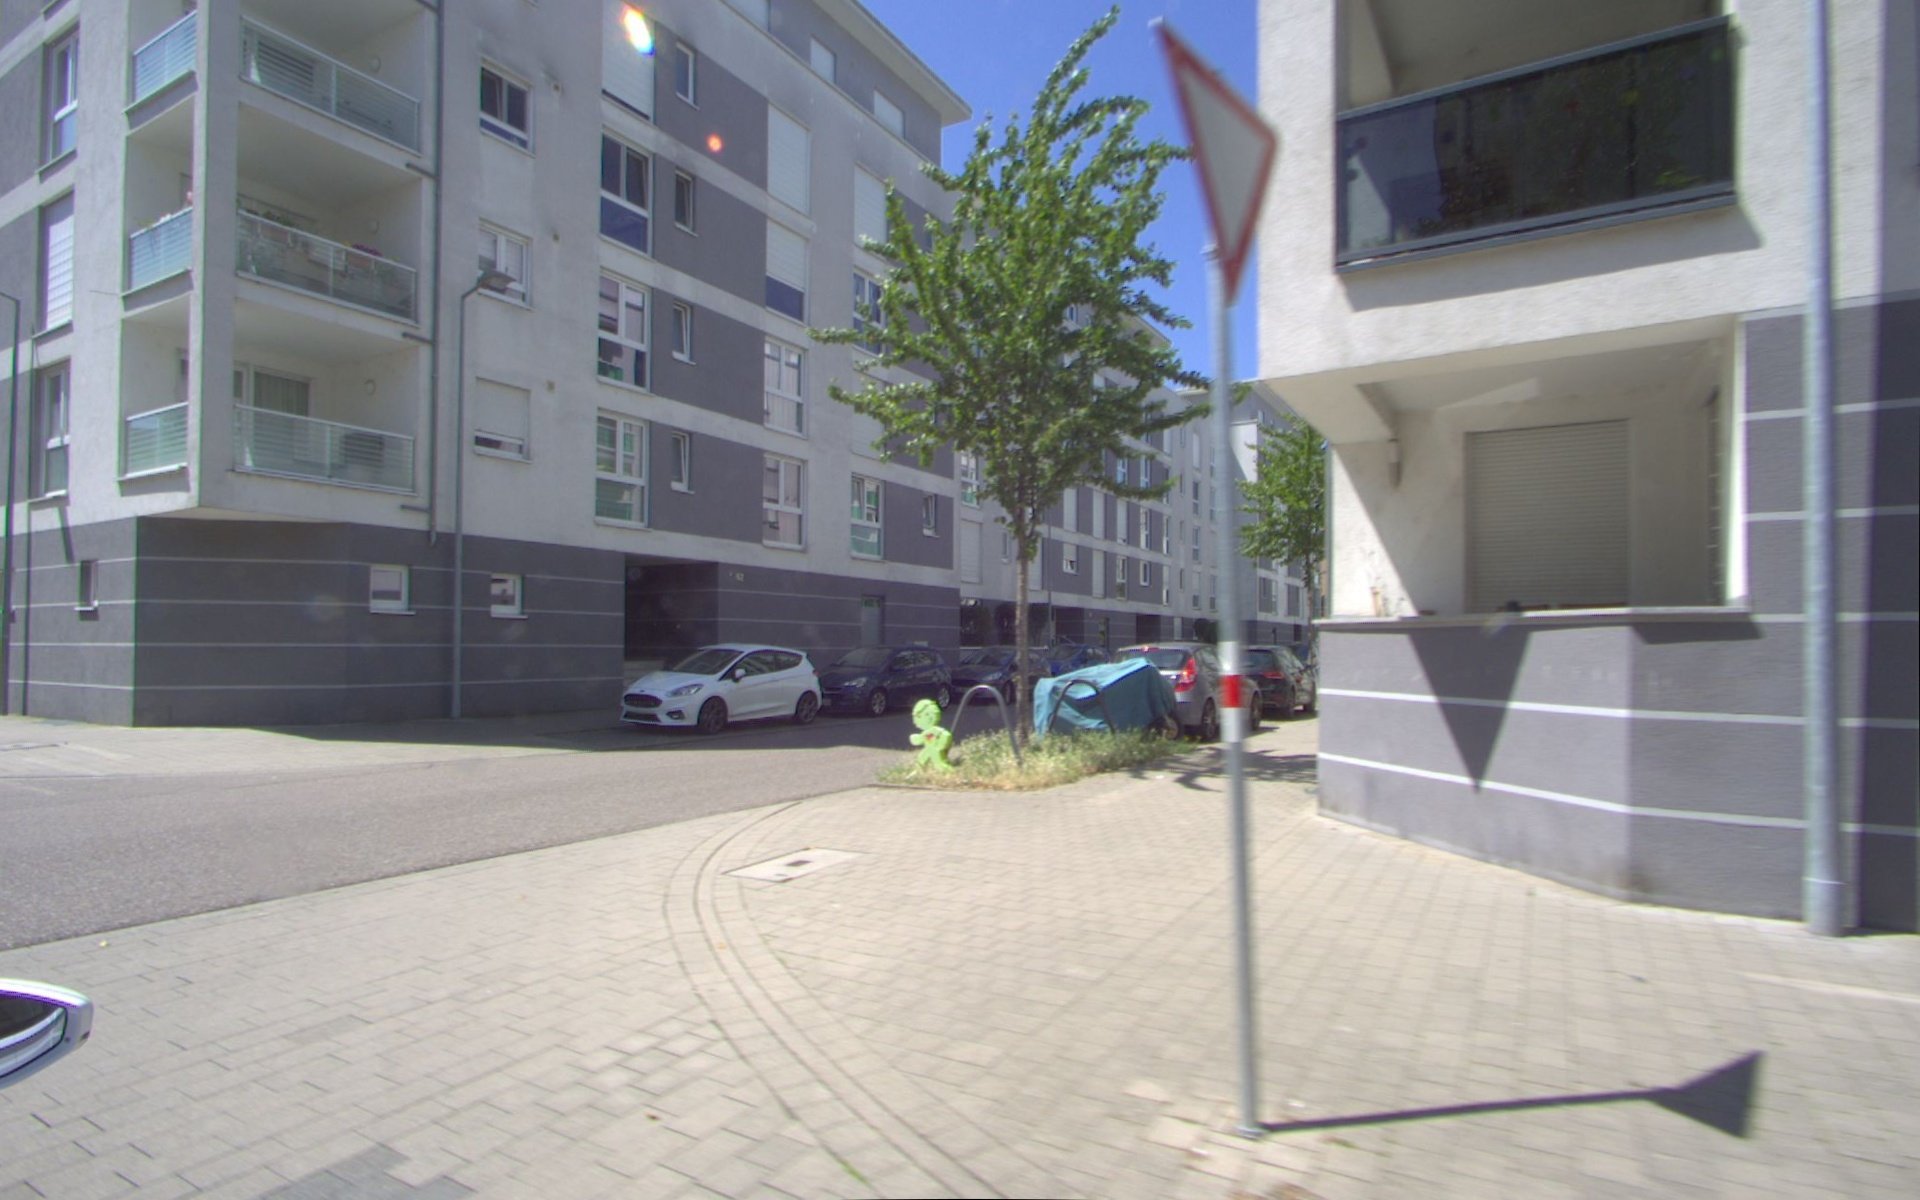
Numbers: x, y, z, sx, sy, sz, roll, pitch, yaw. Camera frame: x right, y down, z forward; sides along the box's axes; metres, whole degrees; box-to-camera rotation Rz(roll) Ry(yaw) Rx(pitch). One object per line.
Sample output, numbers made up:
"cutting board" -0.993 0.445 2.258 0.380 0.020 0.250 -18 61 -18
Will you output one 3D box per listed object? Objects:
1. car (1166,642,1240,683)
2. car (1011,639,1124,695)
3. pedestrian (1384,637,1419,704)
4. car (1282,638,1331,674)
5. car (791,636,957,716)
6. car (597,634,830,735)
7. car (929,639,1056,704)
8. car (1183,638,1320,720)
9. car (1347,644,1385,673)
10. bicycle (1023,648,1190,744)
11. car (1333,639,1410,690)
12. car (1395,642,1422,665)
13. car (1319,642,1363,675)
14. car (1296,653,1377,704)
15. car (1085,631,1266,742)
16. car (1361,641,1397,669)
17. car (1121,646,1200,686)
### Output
"car" 10.346 2.645 42.489 1.970 1.615 4.187 0 -3 30
"car" 3.351 1.988 30.526 1.834 1.577 4.266 -1 -3 31
"pedestrian" 11.222 1.787 25.451 0.734 1.674 0.511 -1 -2 36
"car" 20.753 3.311 59.871 1.971 2.039 3.983 -1 -3 31
"car" -1.778 1.589 21.787 1.702 1.577 3.787 -1 -3 31
"car" -4.244 1.418 17.831 1.728 1.489 3.984 2 -1 30
"car" 0.929 1.827 26.256 1.804 1.504 3.870 1 -2 28
"car" 6.247 1.604 21.164 1.970 1.549 3.985 -1 -3 29
"car" 29.229 4.171 72.031 1.971 2.039 3.983 -1 -3 31
"bicycle" 1.979 1.299 13.778 2.212 1.253 0.783 0 -2 4
"car" 14.494 2.222 35.152 1.971 1.639 3.983 -1 -3 30
"car" 44.358 5.285 99.080 1.971 2.239 3.983 -1 -2 31
"car" 24.171 3.696 63.497 1.971 2.039 3.983 -1 -3 31
"car" 10.409 2.104 27.567 1.609 1.263 3.395 -1 -3 29
"car" 3.634 1.352 16.441 1.783 1.582 3.671 -2 -3 31
"car" 32.134 4.181 76.721 1.971 2.039 3.983 -1 -3 31
"car" 7.644 2.465 37.920 1.693 1.401 4.129 -1 -3 30
